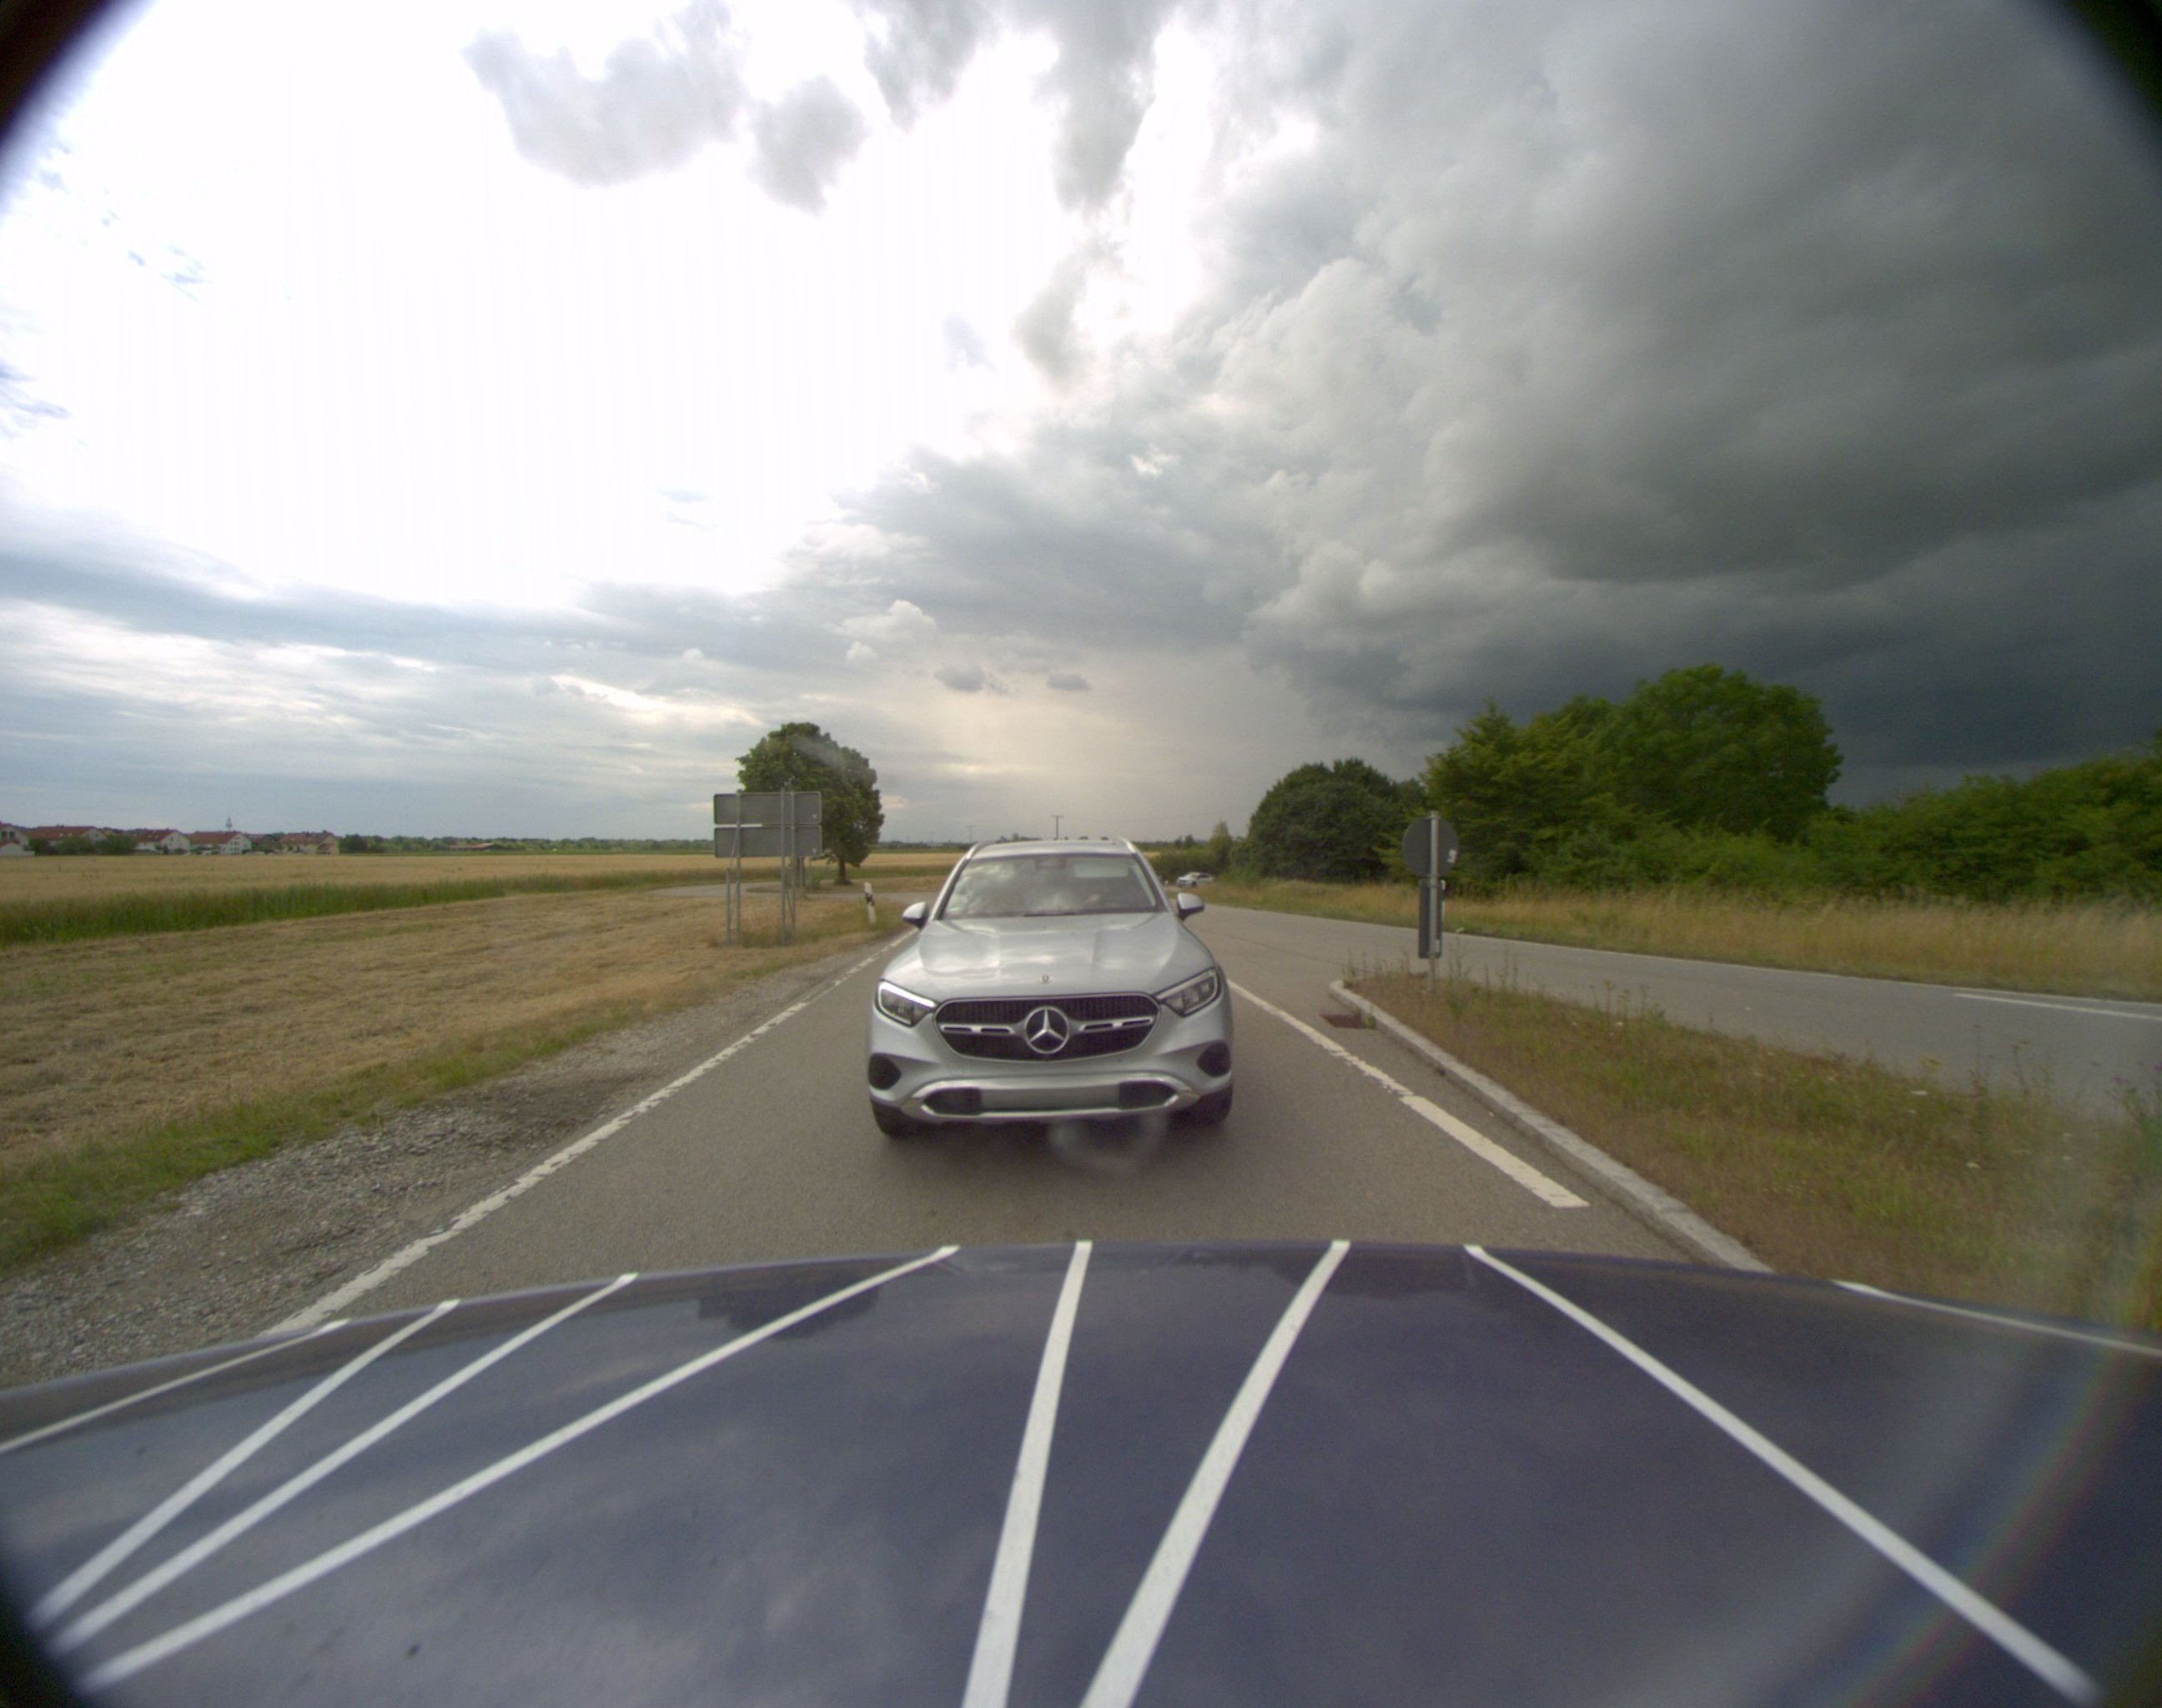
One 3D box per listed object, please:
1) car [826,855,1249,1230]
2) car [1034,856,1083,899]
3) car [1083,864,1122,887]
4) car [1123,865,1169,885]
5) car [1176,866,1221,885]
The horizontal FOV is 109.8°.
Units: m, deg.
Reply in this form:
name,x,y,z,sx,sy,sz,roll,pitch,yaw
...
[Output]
name,x,y,z,sx,sy,sz,roll,pitch,yaw
car,-0.270,0.824,5.544,1.837,1.577,4.448,0,1,-2
car,-0.920,0.980,34.056,1.998,1.709,5.208,0,1,0
car,1.821,1.736,62.008,1.996,1.709,5.216,3,0,15
car,6.250,1.968,72.378,1.994,1.710,5.220,3,1,35
car,12.394,2.233,80.140,1.993,1.710,5.220,3,2,43
